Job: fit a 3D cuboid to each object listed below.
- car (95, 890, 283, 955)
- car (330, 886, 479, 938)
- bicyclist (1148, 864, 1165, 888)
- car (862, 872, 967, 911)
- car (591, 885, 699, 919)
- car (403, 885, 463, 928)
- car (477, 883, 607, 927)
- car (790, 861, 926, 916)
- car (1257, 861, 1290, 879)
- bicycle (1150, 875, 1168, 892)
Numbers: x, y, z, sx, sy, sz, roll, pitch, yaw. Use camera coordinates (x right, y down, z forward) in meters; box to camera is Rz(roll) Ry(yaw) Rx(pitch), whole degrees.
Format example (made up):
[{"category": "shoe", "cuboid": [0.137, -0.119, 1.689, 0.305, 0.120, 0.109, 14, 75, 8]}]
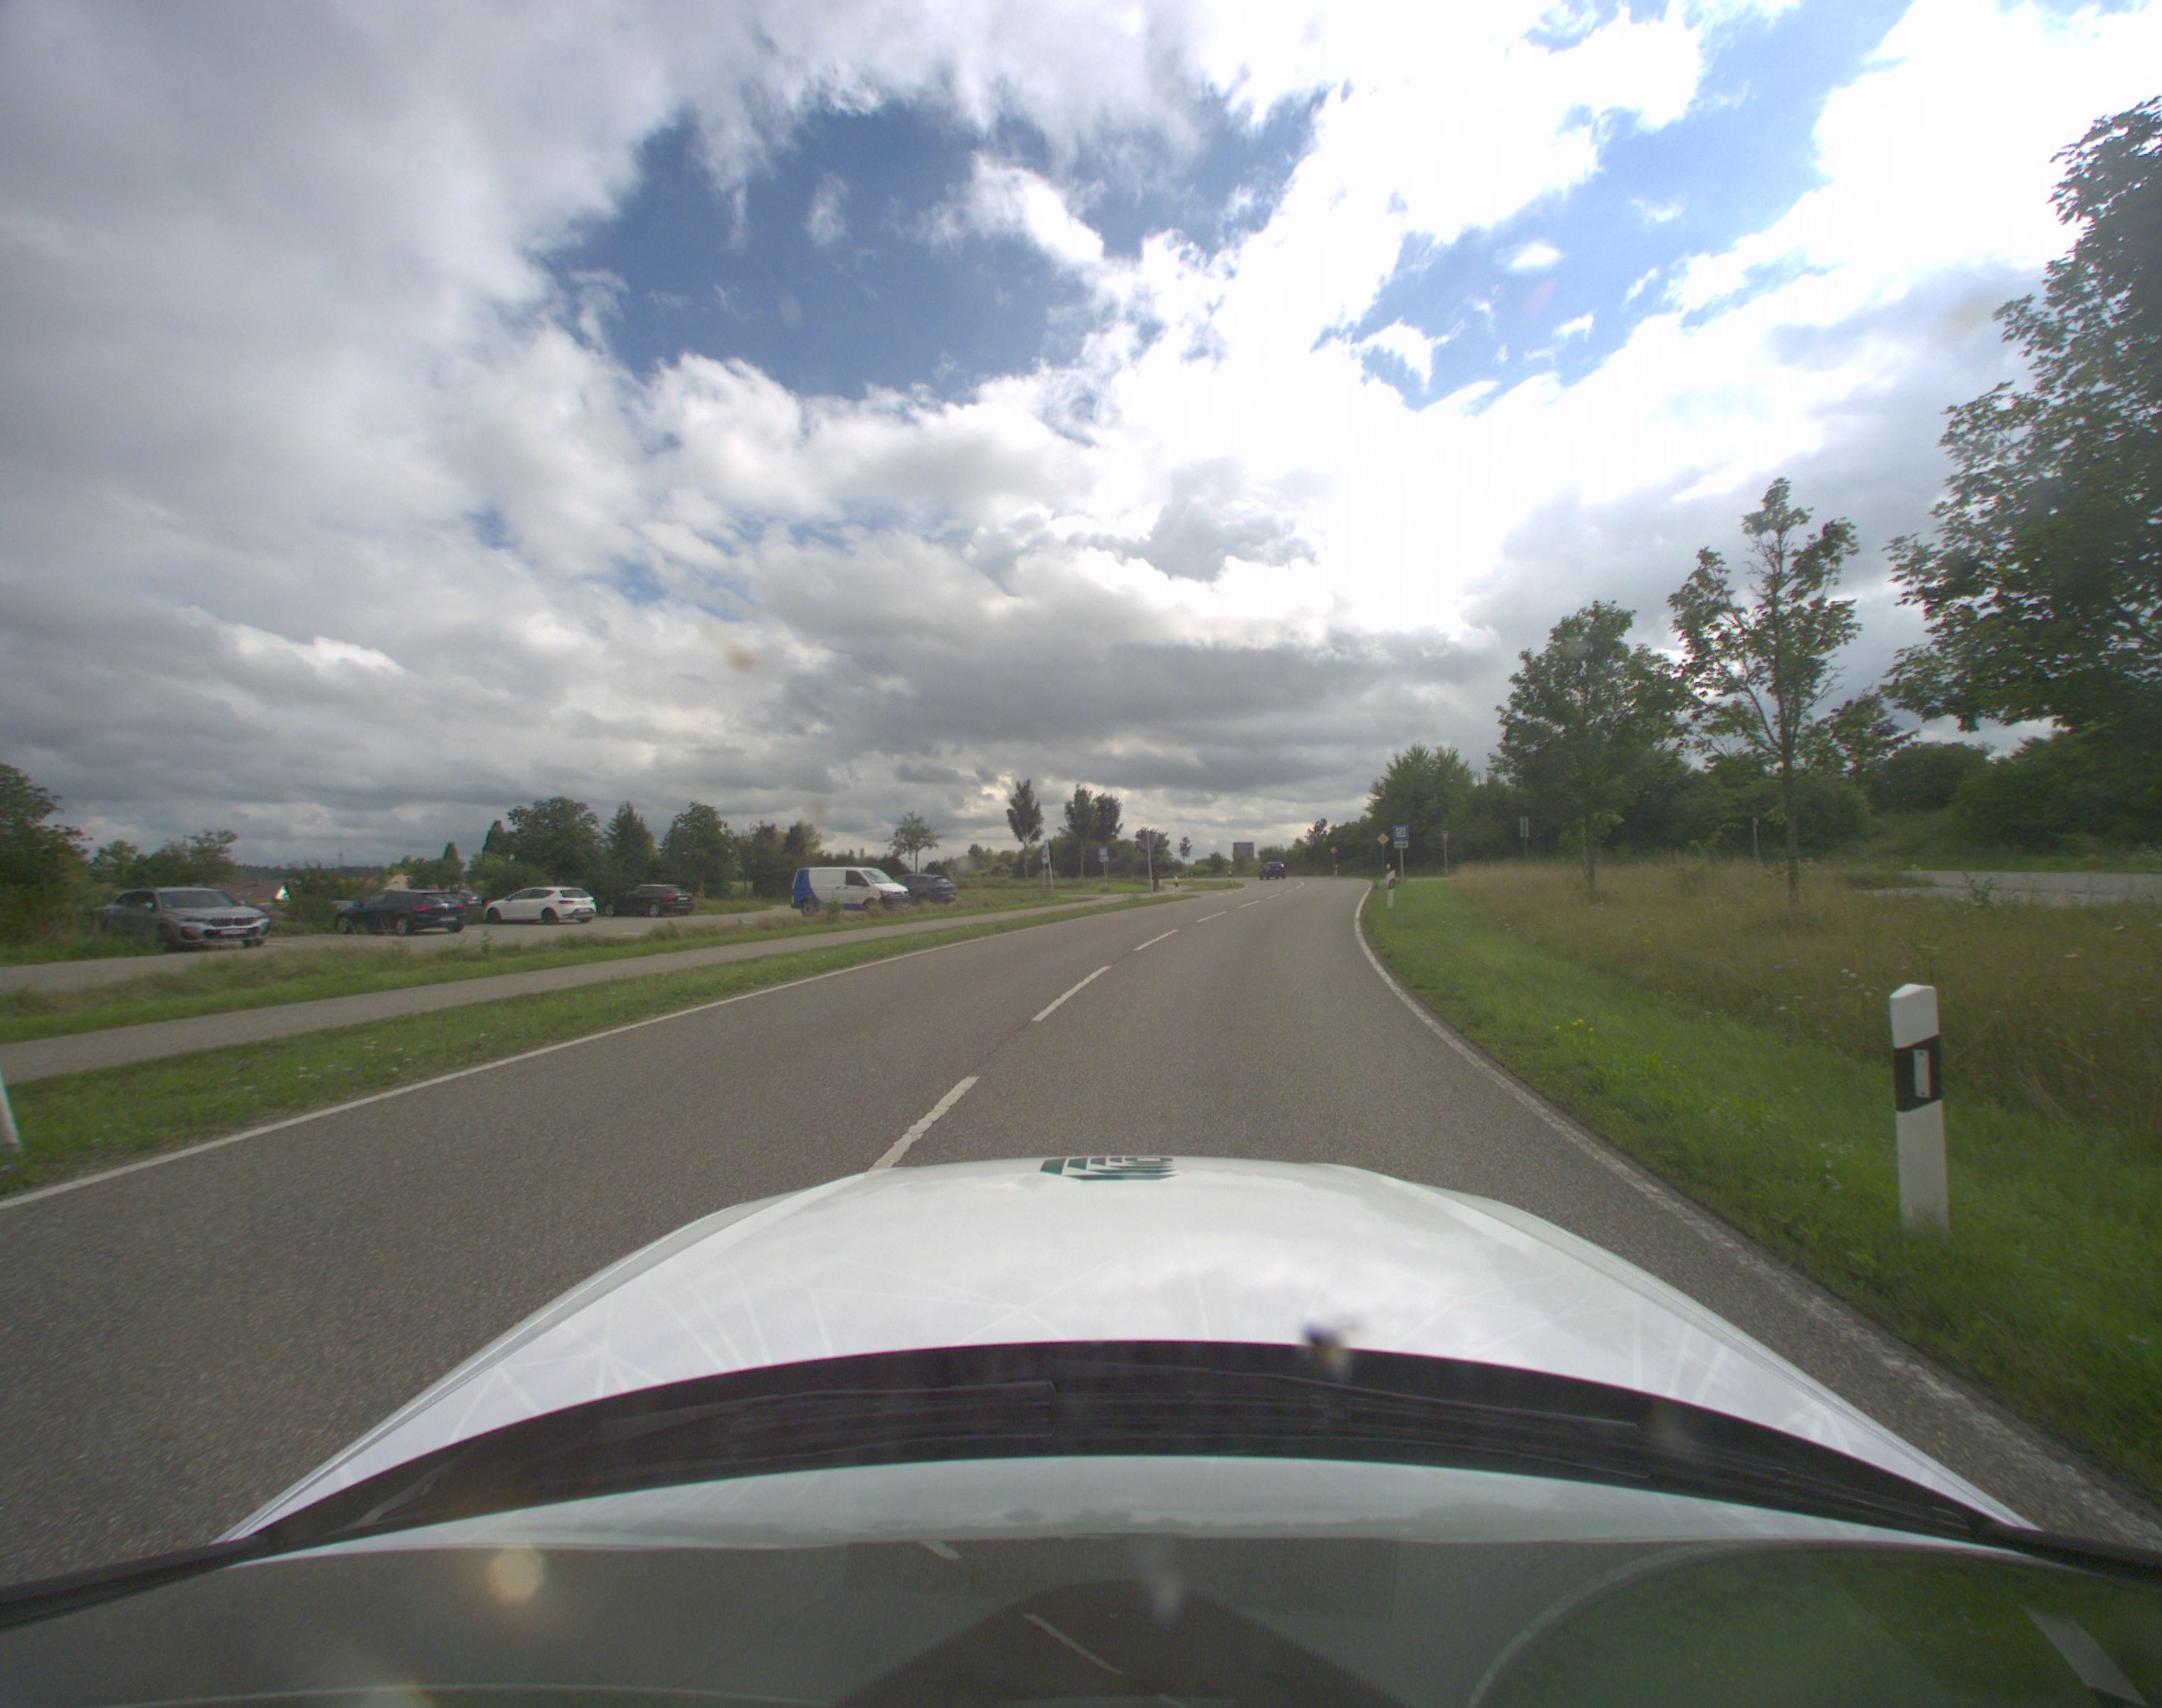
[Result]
[{"category": "car", "cuboid": [-23.830, 1.806, 21.790, 3.954, 1.552, 1.975, -2, -1, 19]}, {"category": "car", "cuboid": [-22.286, 1.872, 26.865, 3.954, 1.552, 1.975, -1, -1, 19]}, {"category": "bicyclist", "cuboid": [5.035, 1.460, 54.396, 0.823, 1.566, 1.061, -3, -1, 23]}, {"category": "car", "cuboid": [-7.644, 1.709, 37.386, 4.212, 1.595, 2.010, -3, -1, 19]}, {"category": "car", "cuboid": [-19.338, 2.136, 36.182, 3.960, 1.387, 1.848, -1, -1, 12]}, {"category": "car", "cuboid": [-25.921, 2.058, 32.540, 1.786, 1.526, 3.749, -1, -2, -40]}, {"category": "car", "cuboid": [-20.885, 1.964, 31.625, 3.960, 1.552, 1.972, -1, -1, 12]}, {"category": "car", "cuboid": [-8.942, 1.381, 32.677, 4.854, 2.014, 2.066, -2, -1, 18]}, {"category": "car", "cuboid": [18.880, 1.614, 80.127, 1.905, 1.666, 3.990, -1, -1, -7]}, {"category": "bicycle", "cuboid": [5.246, 1.983, 54.636, 0.630, 1.032, 2.202, -3, -1, 21]}]
